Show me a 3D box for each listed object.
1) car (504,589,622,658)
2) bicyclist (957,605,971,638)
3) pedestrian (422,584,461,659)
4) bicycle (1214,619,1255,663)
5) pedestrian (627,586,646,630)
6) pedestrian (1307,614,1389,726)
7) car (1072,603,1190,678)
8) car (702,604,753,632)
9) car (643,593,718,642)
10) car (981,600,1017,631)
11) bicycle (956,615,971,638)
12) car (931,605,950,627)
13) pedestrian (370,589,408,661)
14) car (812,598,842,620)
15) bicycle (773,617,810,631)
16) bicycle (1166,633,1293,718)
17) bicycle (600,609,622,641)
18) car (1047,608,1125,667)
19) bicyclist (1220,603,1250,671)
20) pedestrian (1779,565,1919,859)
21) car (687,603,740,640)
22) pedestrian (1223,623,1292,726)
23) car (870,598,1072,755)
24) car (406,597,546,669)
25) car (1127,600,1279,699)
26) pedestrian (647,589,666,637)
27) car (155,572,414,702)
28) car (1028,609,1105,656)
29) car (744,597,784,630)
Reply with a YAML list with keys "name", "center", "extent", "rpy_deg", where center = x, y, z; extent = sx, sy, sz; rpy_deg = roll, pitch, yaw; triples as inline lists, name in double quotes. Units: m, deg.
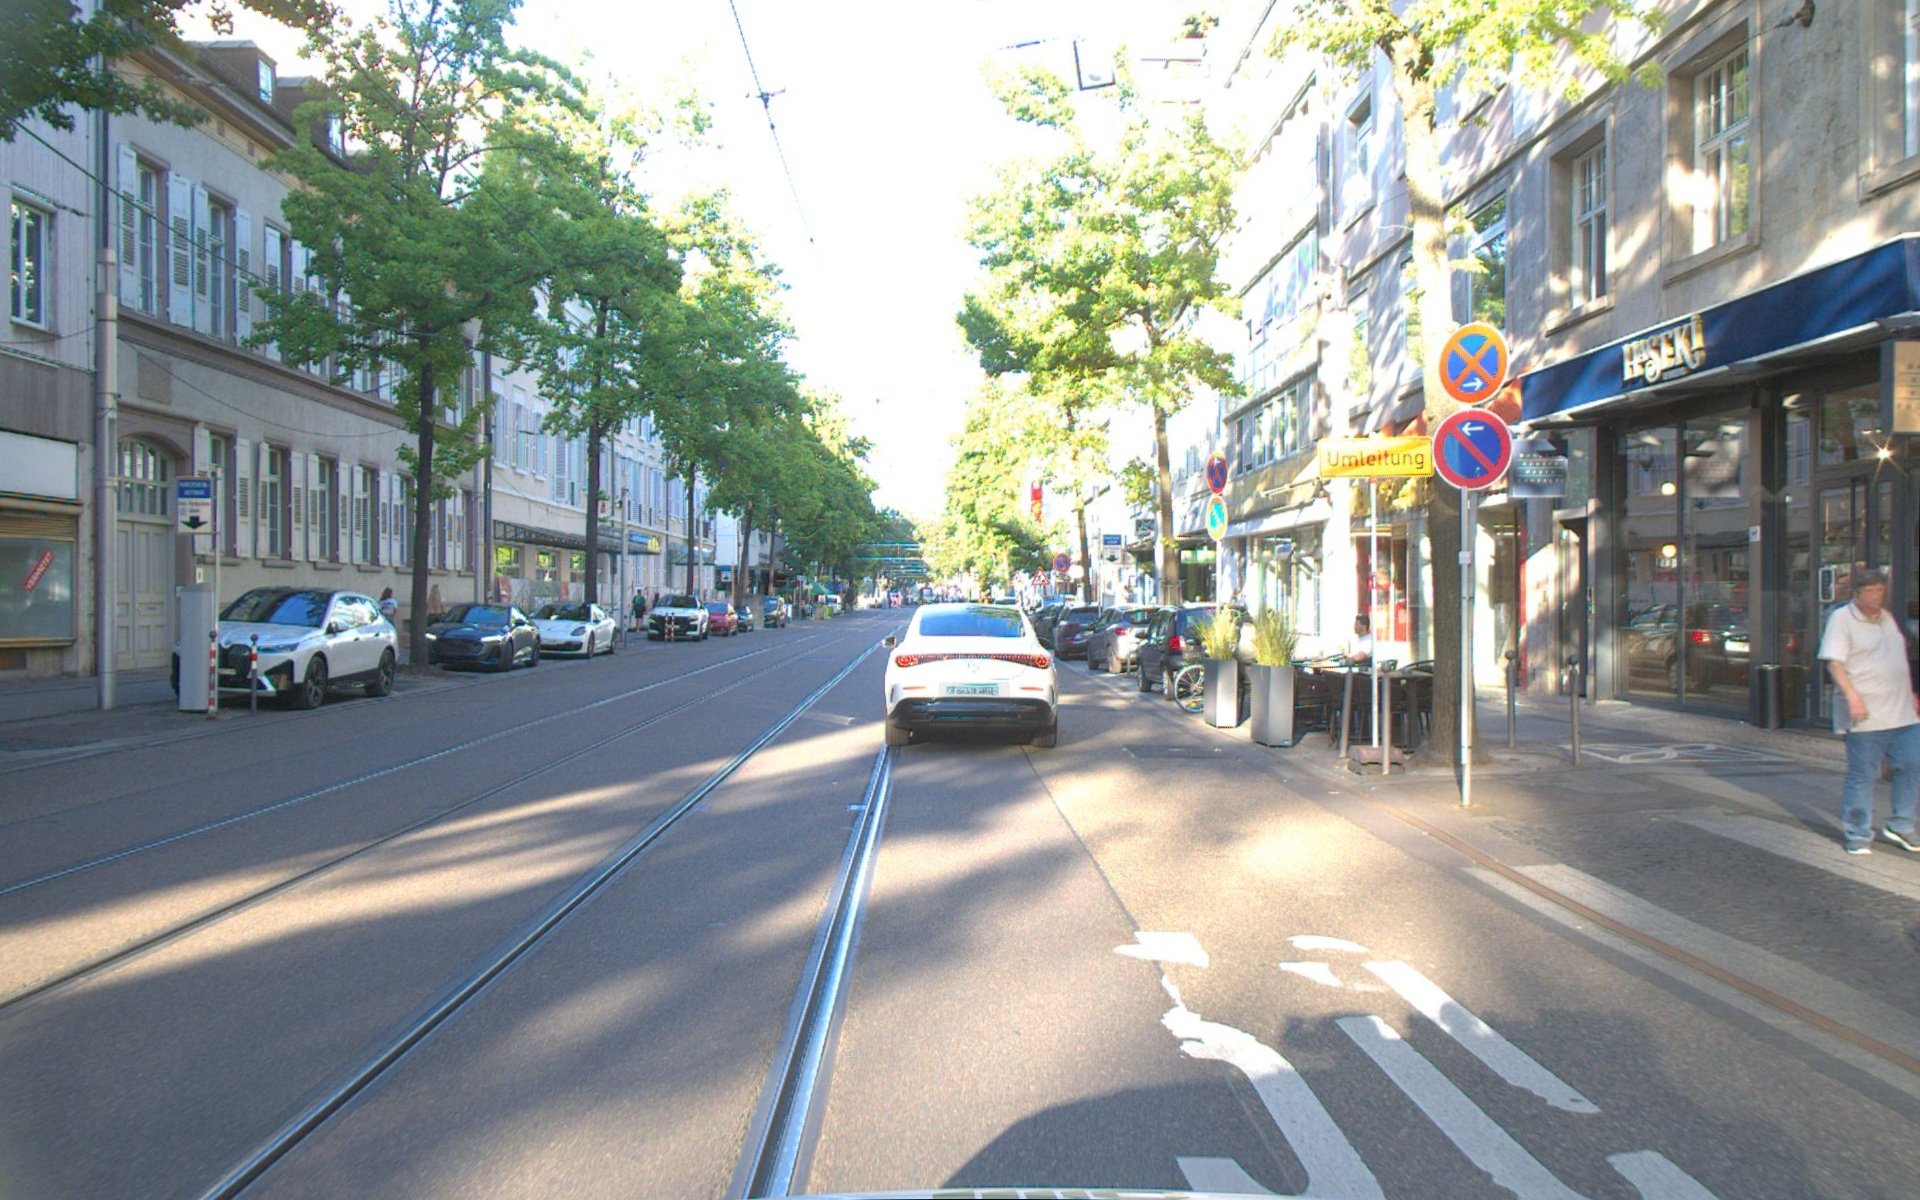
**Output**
- name: "car"
  center: [-10.641, 0.628, 44.707]
  extent: [1.907, 1.668, 4.908]
  rpy_deg: [2, -1, 0]
- name: "bicyclist"
  center: [0.195, 1.119, 86.738]
  extent: [0.710, 1.732, 0.811]
  rpy_deg: [1, -1, 0]
- name: "pedestrian"
  center: [-12.470, 0.518, 39.785]
  extent: [0.672, 1.751, 0.656]
  rpy_deg: [2, -1, -1]
- name: "bicycle"
  center: [7.031, 1.045, 42.422]
  extent: [0.634, 1.093, 1.860]
  rpy_deg: [1, 0, -3]
- name: "pedestrian"
  center: [-13.834, 0.342, 70.669]
  extent: [0.694, 1.838, 0.674]
  rpy_deg: [1, -1, -6]
- name: "pedestrian"
  center: [5.032, 0.893, 21.455]
  extent: [0.702, 1.411, 0.737]
  rpy_deg: [2, -1, -39]
- name: "car"
  center: [3.723, 0.865, 36.573]
  extent: [1.779, 1.512, 3.994]
  rpy_deg: [2, -1, -6]
- name: "car"
  center: [-11.395, 0.877, 81.305]
  extent: [1.953, 1.315, 3.999]
  rpy_deg: [2, -1, -1]
- name: "car"
  center: [-10.591, 0.663, 63.013]
  extent: [1.922, 1.721, 5.012]
  rpy_deg: [2, -1, 0]
- name: "car"
  center: [2.331, 0.902, 98.938]
  extent: [1.953, 1.758, 4.240]
  rpy_deg: [1, 0, -1]
- name: "bicycle"
  center: [0.187, 1.395, 86.770]
  extent: [0.725, 1.209, 2.160]
  rpy_deg: [1, -1, 0]
- name: "car"
  center: [-2.429, 2.002, 204.139]
  extent: [1.955, 2.586, 3.995]
  rpy_deg: [2, -1, -6]
- name: "pedestrian"
  center: [-13.781, 0.608, 39.914]
  extent: [0.661, 1.709, 0.647]
  rpy_deg: [1, -1, -2]
- name: "car"
  center: [-12.644, 0.845, 157.348]
  extent: [1.951, 2.049, 4.003]
  rpy_deg: [1, 0, 7]
- name: "bicycle"
  center: [-10.630, 1.516, 104.182]
  extent: [2.206, 0.845, 0.716]
  rpy_deg: [1, -1, 21]
- name: "bicycle"
  center: [3.786, 1.055, 23.259]
  extent: [1.690, 1.159, 0.547]
  rpy_deg: [-1, -1, 20]
- name: "bicycle"
  center: [-12.008, 0.867, 56.949]
  extent: [0.582, 1.069, 2.005]
  rpy_deg: [1, 0, -8]
- name: "car"
  center: [3.327, 0.961, 44.325]
  extent: [1.832, 1.478, 4.106]
  rpy_deg: [-1, 0, 1]
- name: "bicyclist"
  center: [7.043, 0.946, 42.373]
  extent: [0.626, 1.713, 0.599]
  rpy_deg: [1, -1, -3]
- name: "pedestrian"
  center: [5.438, 0.640, 9.806]
  extent: [0.786, 1.672, 0.755]
  rpy_deg: [0, -1, -1]
- name: "car"
  center: [-10.838, 0.943, 72.925]
  extent: [1.654, 1.525, 4.233]
  rpy_deg: [2, -1, 0]
- name: "pedestrian"
  center: [3.835, 0.950, 21.364]
  extent: [0.800, 1.288, 0.586]
  rpy_deg: [1, -1, 4]
- name: "car"
  center: [0.006, 0.794, 18.211]
  extent: [1.831, 1.495, 4.038]
  rpy_deg: [1, -1, -5]
- name: "car"
  center: [-10.650, 0.717, 36.751]
  extent: [1.923, 1.437, 4.842]
  rpy_deg: [2, -1, -4]
- name: "car"
  center: [3.938, 0.789, 27.363]
  extent: [1.764, 1.484, 3.652]
  rpy_deg: [-1, -1, -4]
- name: "pedestrian"
  center: [-12.986, 0.541, 70.722]
  extent: [0.694, 2.039, 0.674]
  rpy_deg: [1, -1, -7]
- name: "car"
  center: [-10.199, 0.543, 25.437]
  extent: [1.922, 1.668, 4.811]
  rpy_deg: [4, -1, -1]
- name: "car"
  center: [3.497, 1.050, 54.808]
  extent: [1.802, 1.461, 3.993]
  rpy_deg: [1, 0, -7]
- name: "car"
  center: [-11.240, 0.776, 94.926]
  extent: [1.519, 1.827, 3.169]
  rpy_deg: [1, 0, 7]
